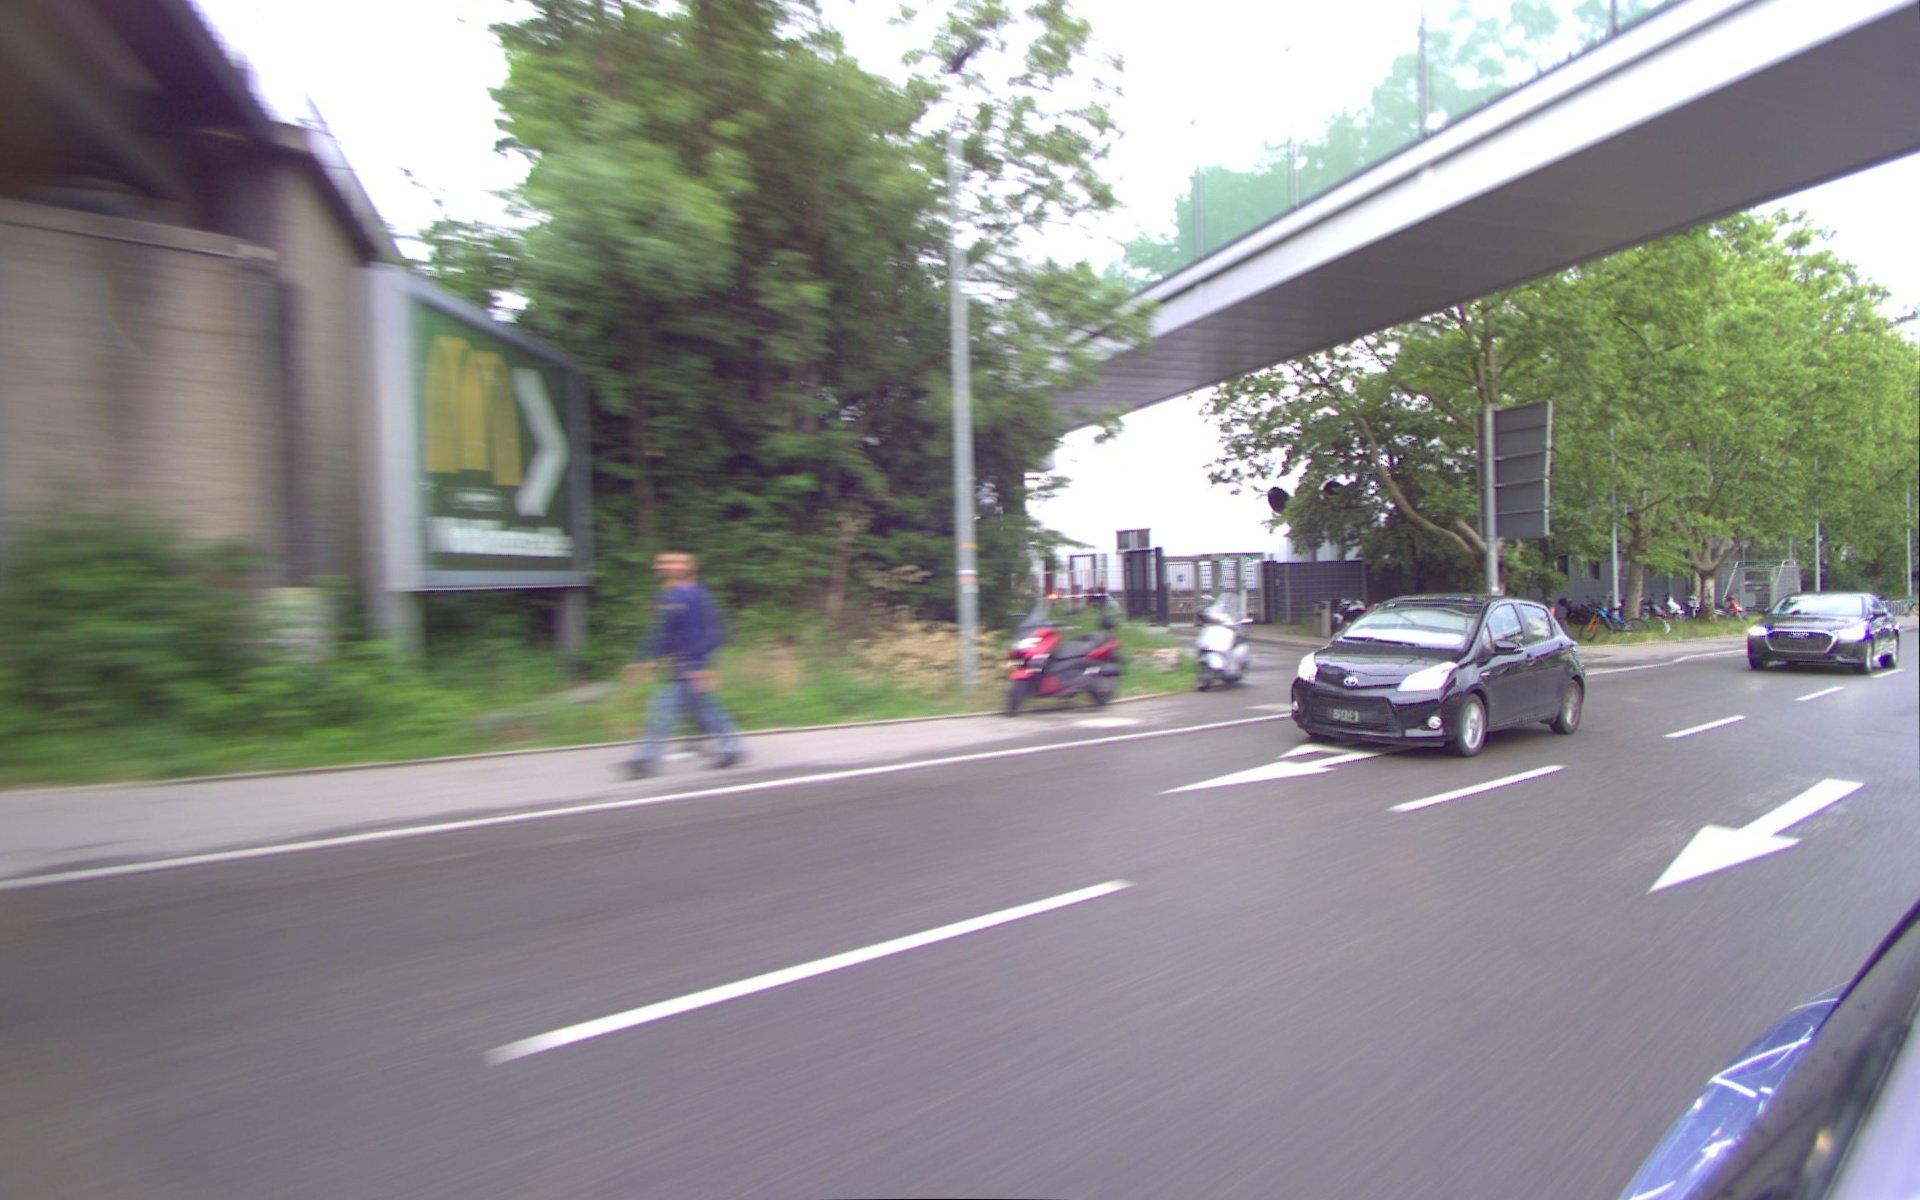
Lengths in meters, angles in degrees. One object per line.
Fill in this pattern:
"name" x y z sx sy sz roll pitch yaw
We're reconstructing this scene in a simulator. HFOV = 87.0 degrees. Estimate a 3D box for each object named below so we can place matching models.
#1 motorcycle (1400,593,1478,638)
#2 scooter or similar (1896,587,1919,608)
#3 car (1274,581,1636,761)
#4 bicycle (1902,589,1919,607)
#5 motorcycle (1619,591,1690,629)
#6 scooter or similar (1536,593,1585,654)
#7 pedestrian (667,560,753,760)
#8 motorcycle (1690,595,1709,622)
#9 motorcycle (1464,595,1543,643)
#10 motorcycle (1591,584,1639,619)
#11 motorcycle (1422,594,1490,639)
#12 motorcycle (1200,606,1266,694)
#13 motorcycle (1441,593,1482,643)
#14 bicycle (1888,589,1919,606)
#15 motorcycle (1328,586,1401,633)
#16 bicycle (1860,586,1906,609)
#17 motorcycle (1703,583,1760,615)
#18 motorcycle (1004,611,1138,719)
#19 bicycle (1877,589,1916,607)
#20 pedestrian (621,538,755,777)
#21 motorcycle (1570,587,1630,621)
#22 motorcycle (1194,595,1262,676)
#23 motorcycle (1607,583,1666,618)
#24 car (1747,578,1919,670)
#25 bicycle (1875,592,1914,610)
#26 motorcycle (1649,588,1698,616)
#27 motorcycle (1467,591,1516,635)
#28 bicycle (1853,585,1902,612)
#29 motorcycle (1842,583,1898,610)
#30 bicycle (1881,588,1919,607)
"motorcycle" 14.639 0.462 30.926 2.234 1.295 0.522 -1 0 -8
"scooter or similar" 50.747 -0.139 53.949 0.307 1.105 1.214 -1 1 -42
"car" 5.478 0.606 10.917 4.558 1.488 1.748 -2 0 -39
"bicycle" 54.341 -0.090 57.203 0.386 1.017 1.555 -1 1 -39
"motorcycle" 22.187 0.314 32.356 1.843 1.206 0.515 0 0 36
"scooter or similar" 13.411 0.505 22.591 1.281 1.315 0.313 -1 0 -28
"pedestrian" -2.127 0.477 8.581 0.567 1.616 0.653 -1 0 -27
"motorcycle" 33.002 0.370 45.181 0.474 1.160 1.877 -3 -1 31
"motorcycle" 14.818 0.506 27.612 1.843 1.268 0.622 0 0 36
"motorcycle" 26.535 0.071 41.023 0.498 1.382 1.499 -1 -1 -43
"motorcycle" 14.594 0.468 29.796 1.816 1.295 0.522 0 0 -8
"motorcycle" 4.253 0.734 15.693 0.467 1.228 1.923 0 1 32
"motorcycle" 13.284 0.459 26.849 0.621 1.268 1.845 0 0 16
"bicycle" 55.198 -0.169 58.973 0.380 0.951 1.611 -1 1 -38
"motorcycle" 11.496 0.259 28.765 2.028 1.295 0.350 0 0 -11
"bicycle" 49.224 -0.135 53.989 0.440 1.182 1.789 -1 1 -44
"motorcycle" 29.575 -0.027 38.819 0.483 1.165 1.659 -2 -1 -31
"motorcycle" 1.342 0.733 12.018 1.787 1.151 0.470 -1 1 -40
"bicycle" 52.382 -0.098 56.636 0.386 0.970 1.555 -1 1 -39
"pedestrian" -2.115 0.409 7.864 0.874 1.743 0.614 -1 0 -29
"motorcycle" 25.114 0.177 39.756 0.482 1.273 1.921 -2 -1 -33
"motorcycle" 4.679 0.591 17.793 0.536 1.313 1.946 0 1 -4
"motorcycle" 28.111 0.012 42.086 0.498 1.382 1.929 -1 -1 -43
"car" 17.864 0.396 20.528 5.509 1.564 1.819 -2 1 -39
"bicycle" 52.049 0.036 56.400 0.386 0.970 1.555 -1 1 -39
"motorcycle" 31.375 0.080 44.492 0.548 1.160 1.646 -2 -1 -28
"motorcycle" 16.715 0.384 31.800 1.956 1.295 0.646 -2 1 -40
"bicycle" 47.825 -0.103 52.776 1.855 1.365 0.441 0 1 40
"motorcycle" 45.153 -0.181 50.241 0.432 1.289 2.018 -1 1 -26
"bicycle" 53.116 -0.140 57.166 0.386 1.017 1.555 -1 1 -39
